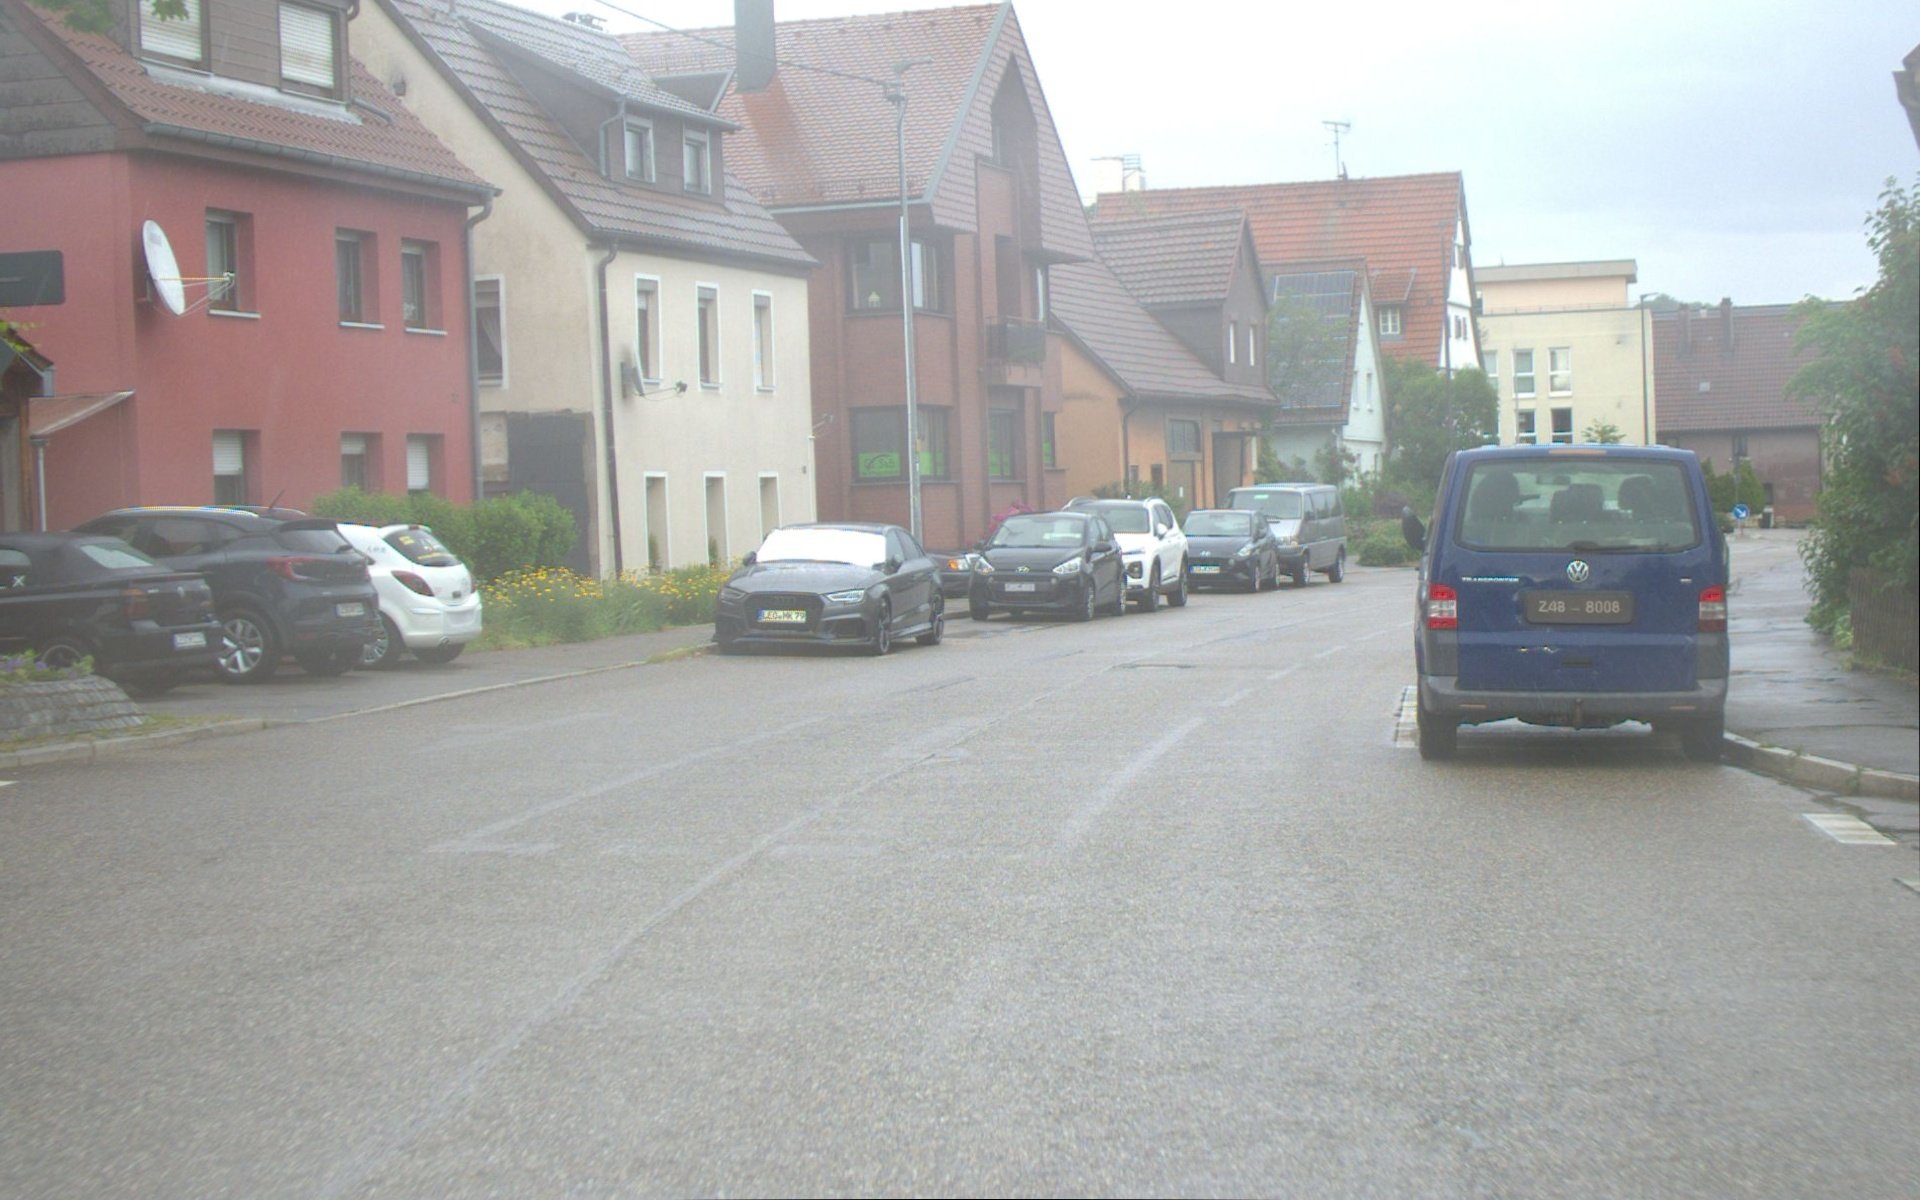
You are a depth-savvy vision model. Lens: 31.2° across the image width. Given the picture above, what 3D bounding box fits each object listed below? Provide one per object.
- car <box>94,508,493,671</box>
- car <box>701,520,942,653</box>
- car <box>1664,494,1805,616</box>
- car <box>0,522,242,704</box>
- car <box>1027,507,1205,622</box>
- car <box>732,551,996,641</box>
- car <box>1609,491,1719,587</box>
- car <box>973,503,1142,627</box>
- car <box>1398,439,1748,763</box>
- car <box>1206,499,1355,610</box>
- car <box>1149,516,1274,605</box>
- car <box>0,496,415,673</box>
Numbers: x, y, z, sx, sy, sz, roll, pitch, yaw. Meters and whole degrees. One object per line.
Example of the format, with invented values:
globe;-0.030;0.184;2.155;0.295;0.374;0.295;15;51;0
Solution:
car;-6.528;-0.112;33.746;3.464;1.474;1.589;-2;1;16
car;-1.457;-0.189;37.740;1.627;1.351;4.108;1;2;13
car;10.859;-0.652;48.409;1.803;1.589;4.609;2;1;12
car;-7.938;0.118;28.605;3.448;1.413;1.631;-2;1;16
car;2.430;-0.572;52.300;1.765;1.613;4.653;-2;1;14
car;-1.661;-0.069;59.658;4.176;1.398;1.787;-2;1;21
car;13.121;-1.147;63.977;1.750;1.704;3.997;0;1;15
car;1.385;-0.511;47.597;1.606;1.612;3.274;-2;1;15
car;3.907;-0.051;22.614;1.931;1.896;4.792;0;1;6
car;6.220;-0.901;66.265;1.823;2.007;5.210;-2;1;17
car;4.527;-0.728;61.475;1.579;1.492;3.565;-2;1;15
car;-7.011;-0.174;31.347;3.579;1.501;1.854;1;2;18
